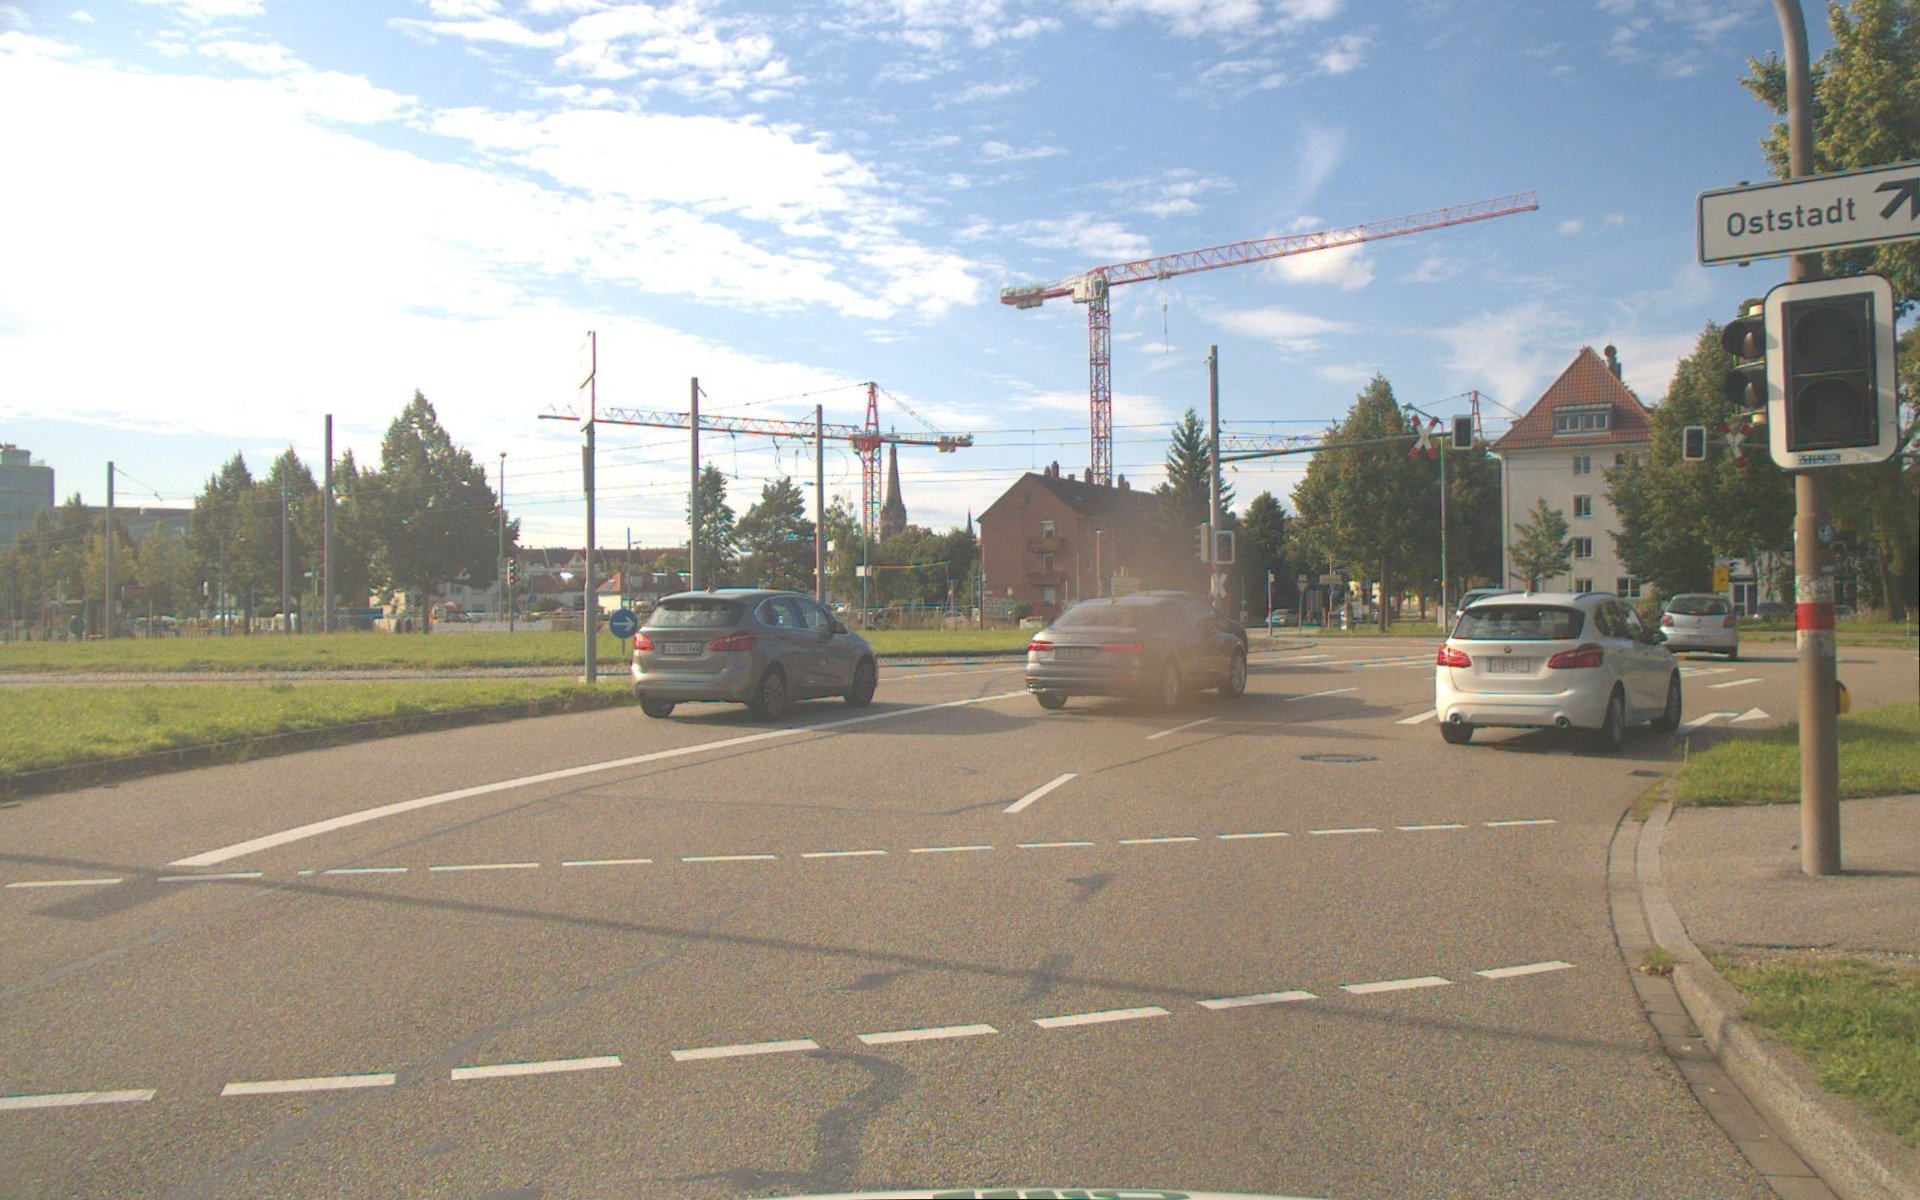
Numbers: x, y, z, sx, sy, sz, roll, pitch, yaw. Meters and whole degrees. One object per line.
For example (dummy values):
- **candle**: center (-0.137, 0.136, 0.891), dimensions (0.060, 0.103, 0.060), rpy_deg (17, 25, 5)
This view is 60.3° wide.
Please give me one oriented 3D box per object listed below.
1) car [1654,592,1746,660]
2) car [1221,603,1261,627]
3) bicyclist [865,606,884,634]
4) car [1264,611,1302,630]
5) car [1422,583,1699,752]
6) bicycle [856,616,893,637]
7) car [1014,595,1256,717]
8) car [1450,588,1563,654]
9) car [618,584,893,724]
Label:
- **car**: center (16.788, 0.569, 37.602), dimensions (1.813, 1.451, 4.453), rpy_deg (0, -1, 24)
- **car**: center (23.266, 1.272, 136.828), dimensions (1.859, 1.936, 4.654), rpy_deg (0, -1, 28)
- **bicyclist**: center (-5.100, 1.185, 98.563), dimensions (0.936, 1.602, 0.773), rpy_deg (-2, 0, 7)
- **car**: center (26.842, 1.673, 137.188), dimensions (1.859, 1.570, 4.654), rpy_deg (0, -1, 28)
- **car**: center (6.657, 0.667, 18.041), dimensions (1.818, 1.600, 4.440), rpy_deg (0, -1, 34)
- **bicycle**: center (-5.081, 1.577, 98.557), dimensions (2.097, 1.157, 0.773), rpy_deg (-2, 0, 7)
- **car**: center (2.556, 0.686, 22.954), dimensions (1.814, 1.470, 4.710), rpy_deg (0, 0, 27)
- **car**: center (13.226, 0.499, 39.864), dimensions (1.815, 1.504, 4.447), rpy_deg (0, -1, 29)
- **car**: center (-2.492, 0.642, 21.237), dimensions (1.732, 1.600, 4.066), rpy_deg (0, -1, 22)
